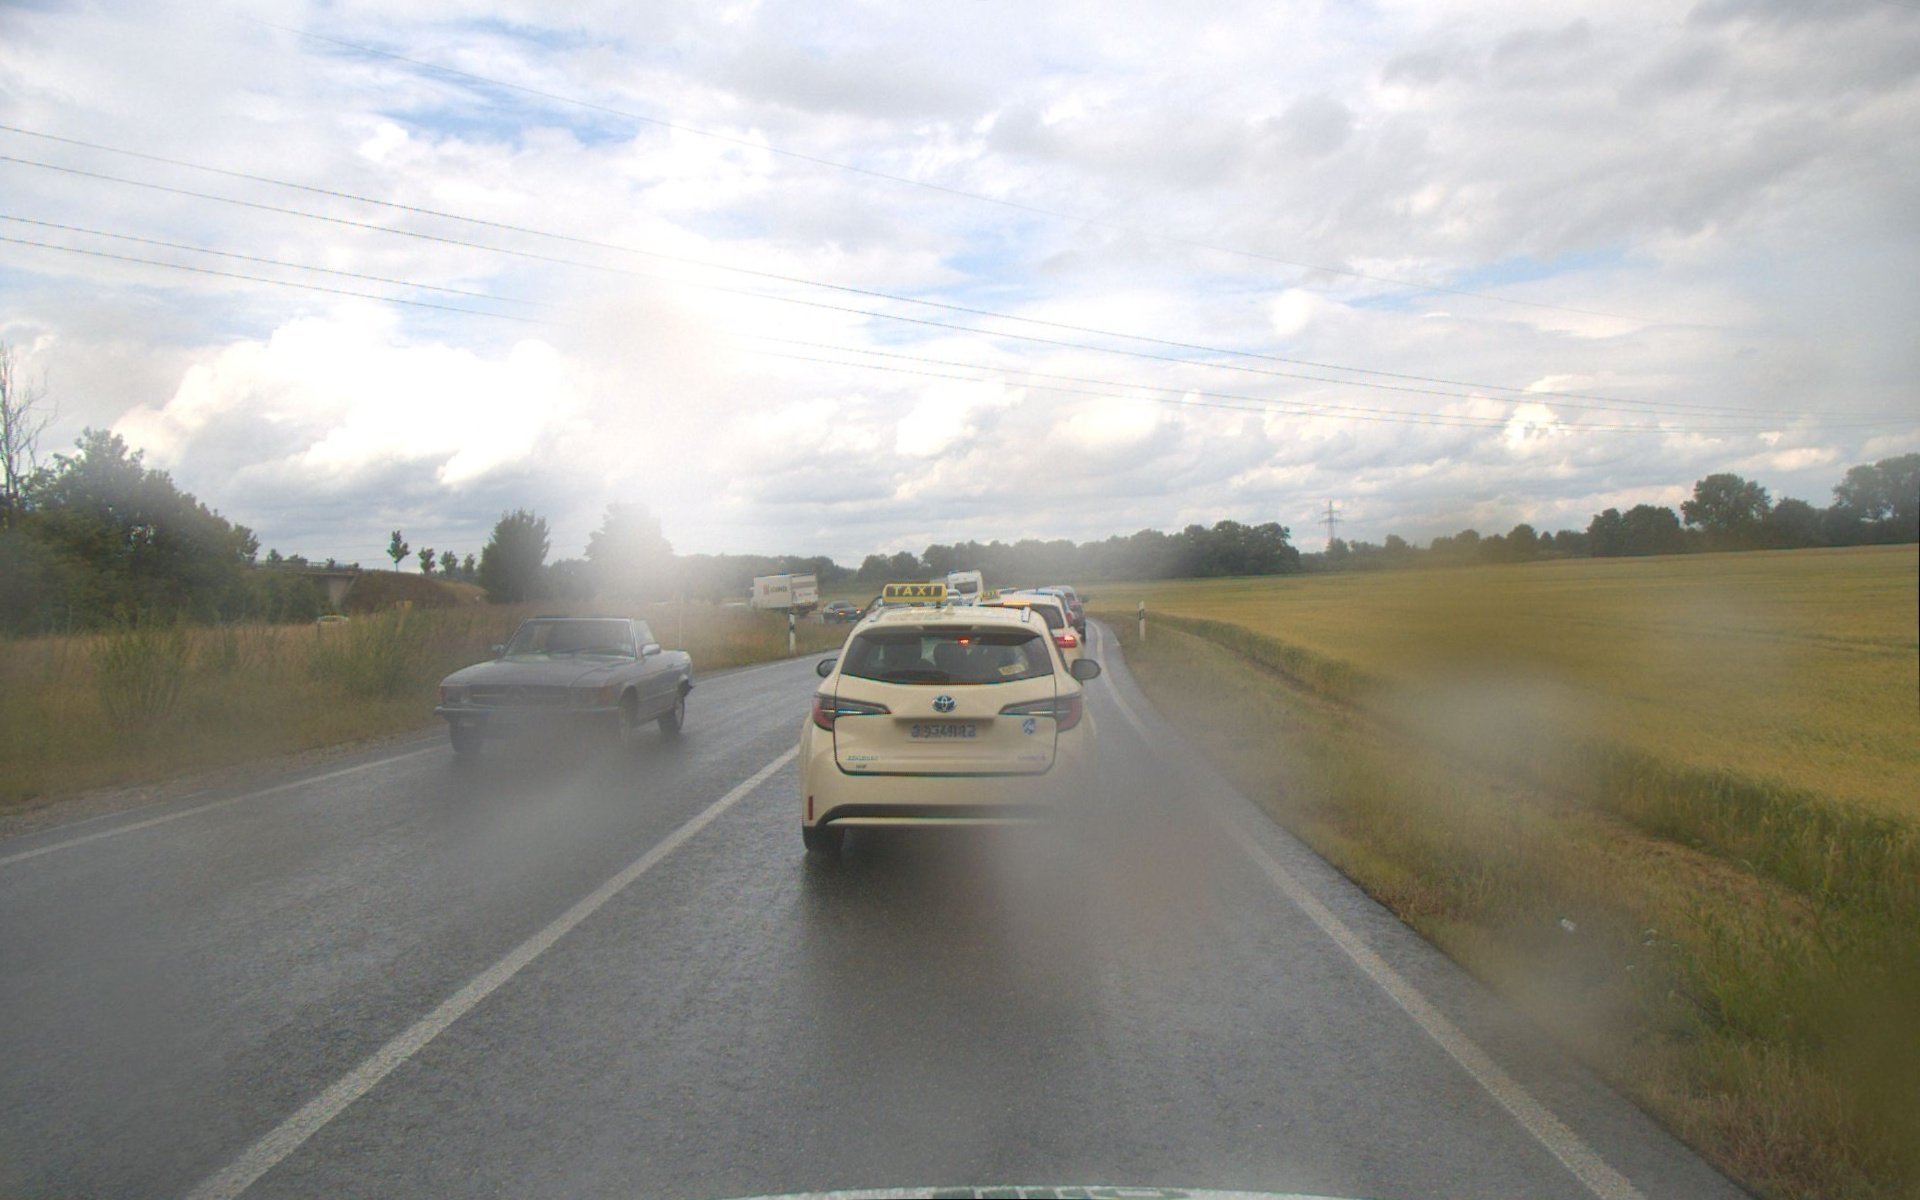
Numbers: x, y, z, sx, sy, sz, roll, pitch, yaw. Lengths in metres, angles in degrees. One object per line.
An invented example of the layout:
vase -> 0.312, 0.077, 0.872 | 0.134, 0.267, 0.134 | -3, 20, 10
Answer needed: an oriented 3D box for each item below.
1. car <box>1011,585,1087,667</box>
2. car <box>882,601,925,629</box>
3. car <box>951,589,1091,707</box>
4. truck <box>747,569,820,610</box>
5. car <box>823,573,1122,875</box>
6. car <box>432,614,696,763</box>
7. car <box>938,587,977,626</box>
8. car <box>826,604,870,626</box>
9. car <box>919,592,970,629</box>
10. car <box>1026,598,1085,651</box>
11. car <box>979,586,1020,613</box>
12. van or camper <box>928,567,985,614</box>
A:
car -> 1.919, 0.571, 36.289 | 1.579, 1.688, 3.739 | 0, -1, 2
car -> -3.562, 0.921, 103.779 | 1.817, 1.660, 4.519 | -1, 0, -13
car -> 0.890, 0.619, 23.730 | 1.803, 1.518, 4.609 | 0, 0, 3
truck -> -15.016, -0.861, 140.387 | 2.984, 3.266, 8.143 | 1, -1, -32
car -> 0.143, 0.686, 10.639 | 1.579, 1.590, 3.739 | 0, -1, 2
car -> -3.886, 0.815, 16.897 | 1.683, 1.273, 4.000 | 0, 0, 0
car -> -0.158, 0.319, 81.409 | 1.807, 1.888, 4.445 | 0, 0, -2
car -> -7.963, 1.040, 117.221 | 1.824, 1.473, 4.060 | -2, 0, -24
car -> -0.588, 0.403, 66.161 | 1.806, 1.412, 4.288 | 0, 0, 3
car -> 2.711, 0.701, 46.718 | 1.579, 1.438, 3.740 | 0, -1, 4
car -> 2.163, -0.003, 92.026 | 1.749, 1.438, 3.732 | 0, -1, -7
van or camper -> -0.275, -0.590, 108.094 | 2.491, 2.946, 6.724 | 0, 0, -11
